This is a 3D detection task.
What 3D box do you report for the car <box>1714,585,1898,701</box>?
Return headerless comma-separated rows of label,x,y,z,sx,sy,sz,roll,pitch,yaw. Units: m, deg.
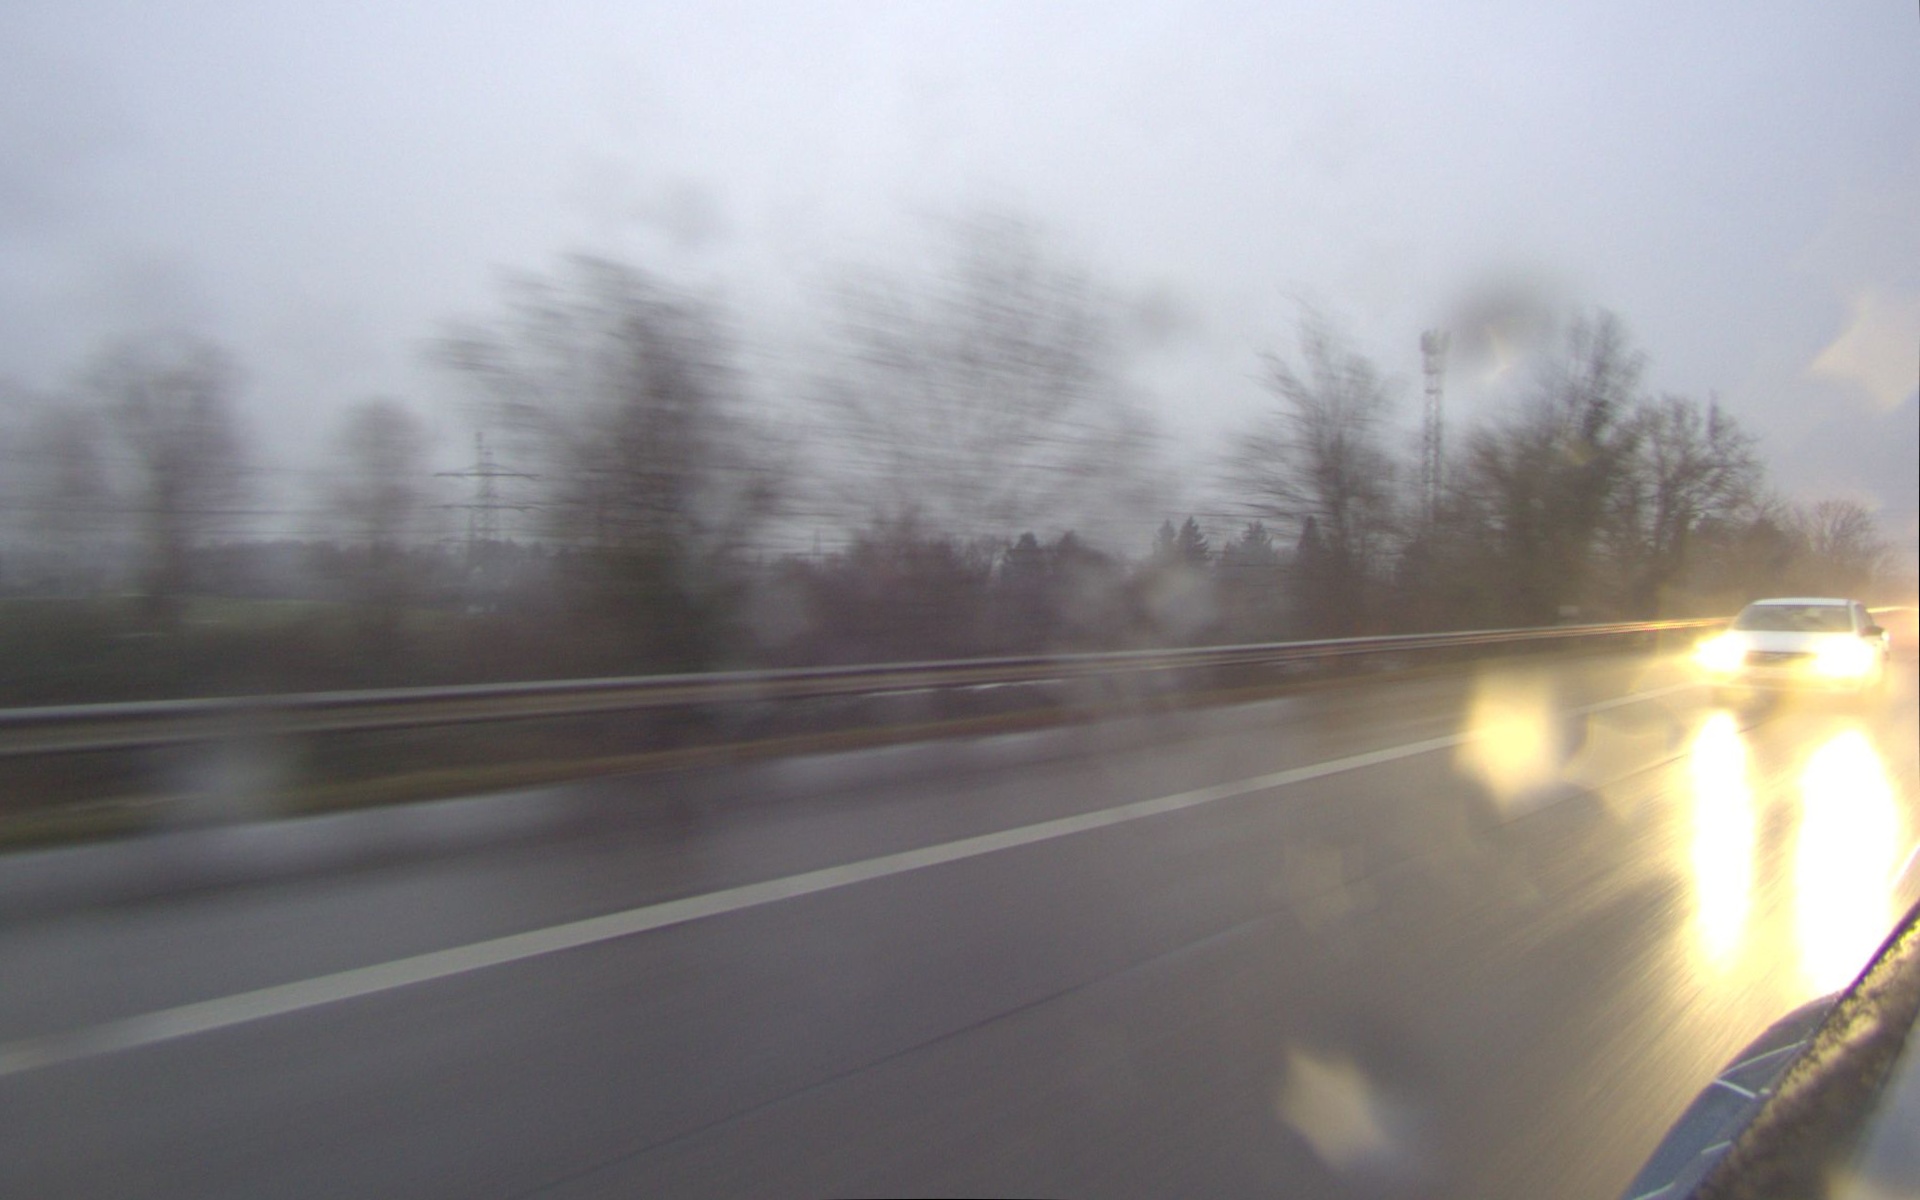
car,12.897,0.573,15.340,3.935,1.522,1.798,1,0,-45
